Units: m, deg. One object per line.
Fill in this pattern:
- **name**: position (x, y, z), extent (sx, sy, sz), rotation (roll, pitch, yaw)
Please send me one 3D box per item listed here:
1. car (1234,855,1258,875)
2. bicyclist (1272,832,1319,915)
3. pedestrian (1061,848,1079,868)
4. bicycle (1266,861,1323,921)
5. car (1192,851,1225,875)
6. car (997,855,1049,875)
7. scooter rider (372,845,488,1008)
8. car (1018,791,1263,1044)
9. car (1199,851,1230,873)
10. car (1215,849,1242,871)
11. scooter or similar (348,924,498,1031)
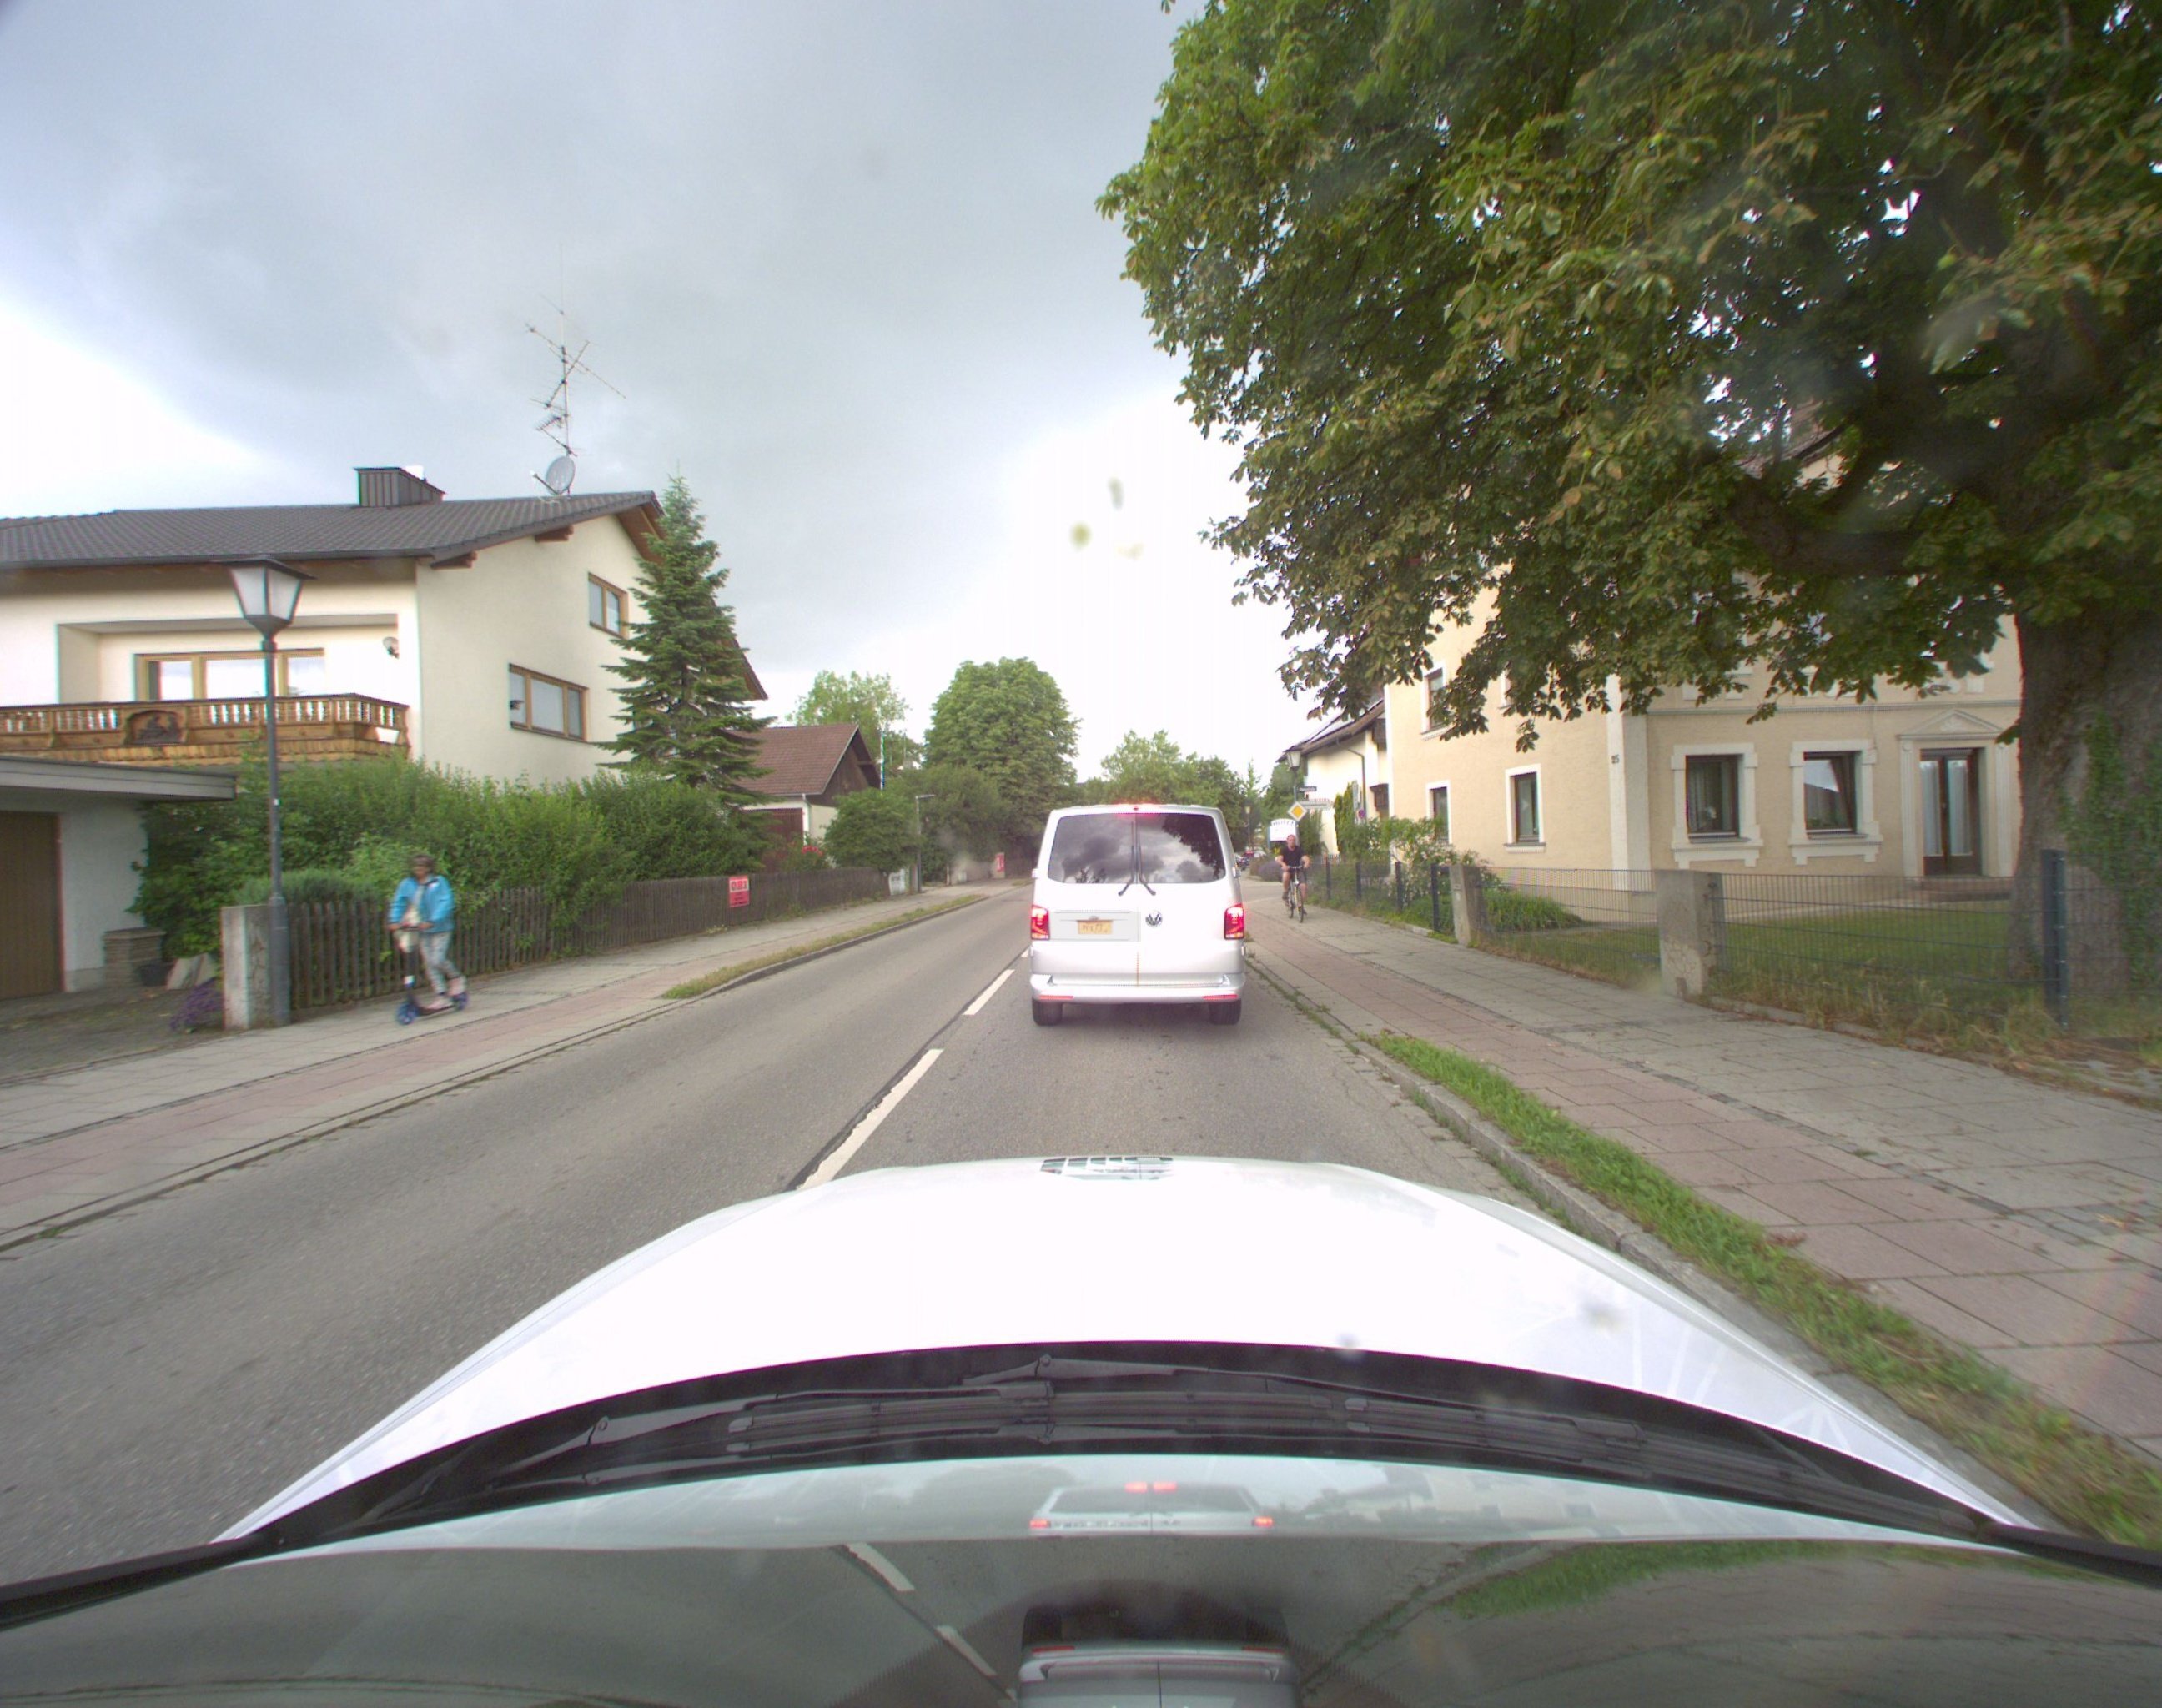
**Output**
- **car**: position (15.730, 1.031, 77.552), extent (1.867, 1.825, 3.937), rotation (-2, 0, 16)
- **bicyclist**: position (4.359, 0.380, 16.613), extent (0.733, 1.632, 0.891), rotation (-1, 0, 3)
- **pedestrian**: position (-1.030, 0.395, 76.799), extent (1.325, 1.803, 1.060), rotation (-1, 0, -26)
- **bicycle**: position (4.349, 0.729, 16.720), extent (0.761, 1.143, 1.847), rotation (-1, 0, 4)
- **car**: position (8.872, 0.596, 56.318), extent (1.868, 1.535, 3.936), rotation (-2, 0, 14)
- **car**: position (-4.613, 0.881, 64.470), extent (3.982, 1.486, 1.996), rotation (-1, 0, -6)
- **scooter rider**: position (-6.246, 0.664, 7.843), extent (0.500, 1.489, 0.716), rotation (-1, 0, 2)
- **car**: position (0.567, 0.503, 8.365), extent (1.873, 1.940, 3.923), rotation (-2, 0, 3)
- **car**: position (10.239, 0.598, 62.350), extent (1.867, 1.535, 3.937), rotation (-2, 0, 16)
- **car**: position (12.543, 0.510, 69.120), extent (1.867, 1.748, 4.097), rotation (-2, 0, 15)
- **scooter or similar**: position (-6.236, 1.147, 7.779), extent (0.519, 0.850, 1.062), rotation (-1, 0, 3)
